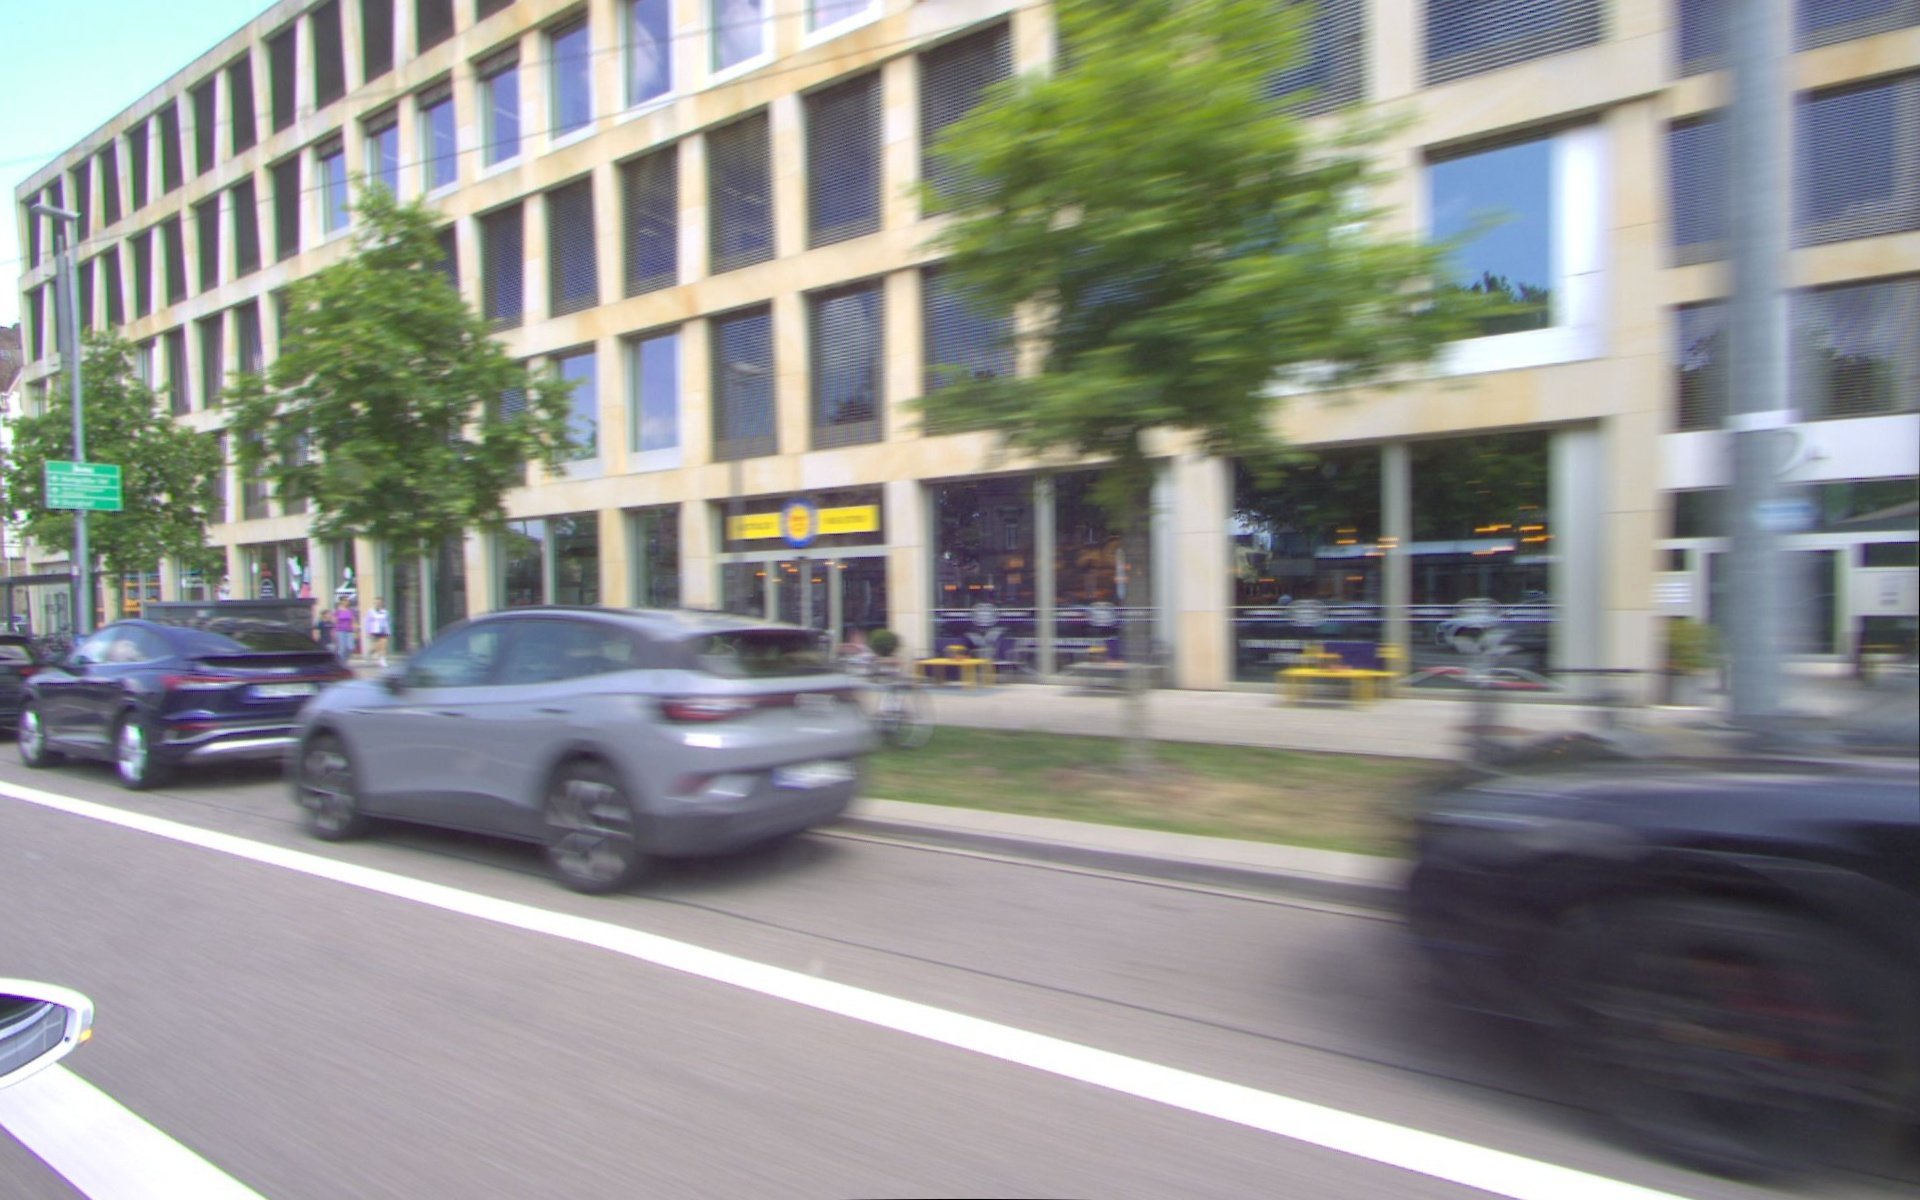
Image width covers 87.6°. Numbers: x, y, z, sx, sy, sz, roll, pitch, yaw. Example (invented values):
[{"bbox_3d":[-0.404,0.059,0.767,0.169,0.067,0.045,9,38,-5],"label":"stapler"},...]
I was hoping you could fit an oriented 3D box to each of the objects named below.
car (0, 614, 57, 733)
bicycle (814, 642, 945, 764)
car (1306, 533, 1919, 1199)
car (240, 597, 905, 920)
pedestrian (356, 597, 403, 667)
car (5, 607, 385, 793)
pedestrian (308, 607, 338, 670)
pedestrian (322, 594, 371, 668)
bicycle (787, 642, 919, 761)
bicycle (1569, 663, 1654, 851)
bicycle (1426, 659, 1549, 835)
[{"bbox_3d":[-13.753,0.921,13.335,4.032,1.489,1.441,0,-1,31],"label":"car"},{"bbox_3d":[-0.797,1.029,10.482,0.335,1.044,1.835,0,2,31],"label":"bicycle"},{"bbox_3d":[3.602,0.700,2.753,4.769,1.691,1.736,0,-1,31],"label":"car"},{"bbox_3d":[-2.864,0.829,7.018,4.769,1.612,1.805,0,-1,31],"label":"car"},{"bbox_3d":[-14.341,0.774,24.749,0.650,1.692,0.758,0,1,32],"label":"pedestrian"},{"bbox_3d":[-8.153,0.907,10.585,4.243,1.612,1.804,0,-1,32],"label":"car"},{"bbox_3d":[-14.933,0.898,23.486,0.427,1.468,0.438,0,1,32],"label":"pedestrian"},{"bbox_3d":[-14.745,0.736,24.072,0.650,1.746,0.758,0,1,32],"label":"pedestrian"},{"bbox_3d":[-1.096,1.029,10.674,0.335,1.044,1.835,0,2,31],"label":"bicycle"},{"bbox_3d":[4.586,1.018,7.010,0.427,1.044,1.818,0,0,35],"label":"bicycle"},{"bbox_3d":[3.975,1.020,7.477,0.576,1.044,1.818,0,0,35],"label":"bicycle"}]
